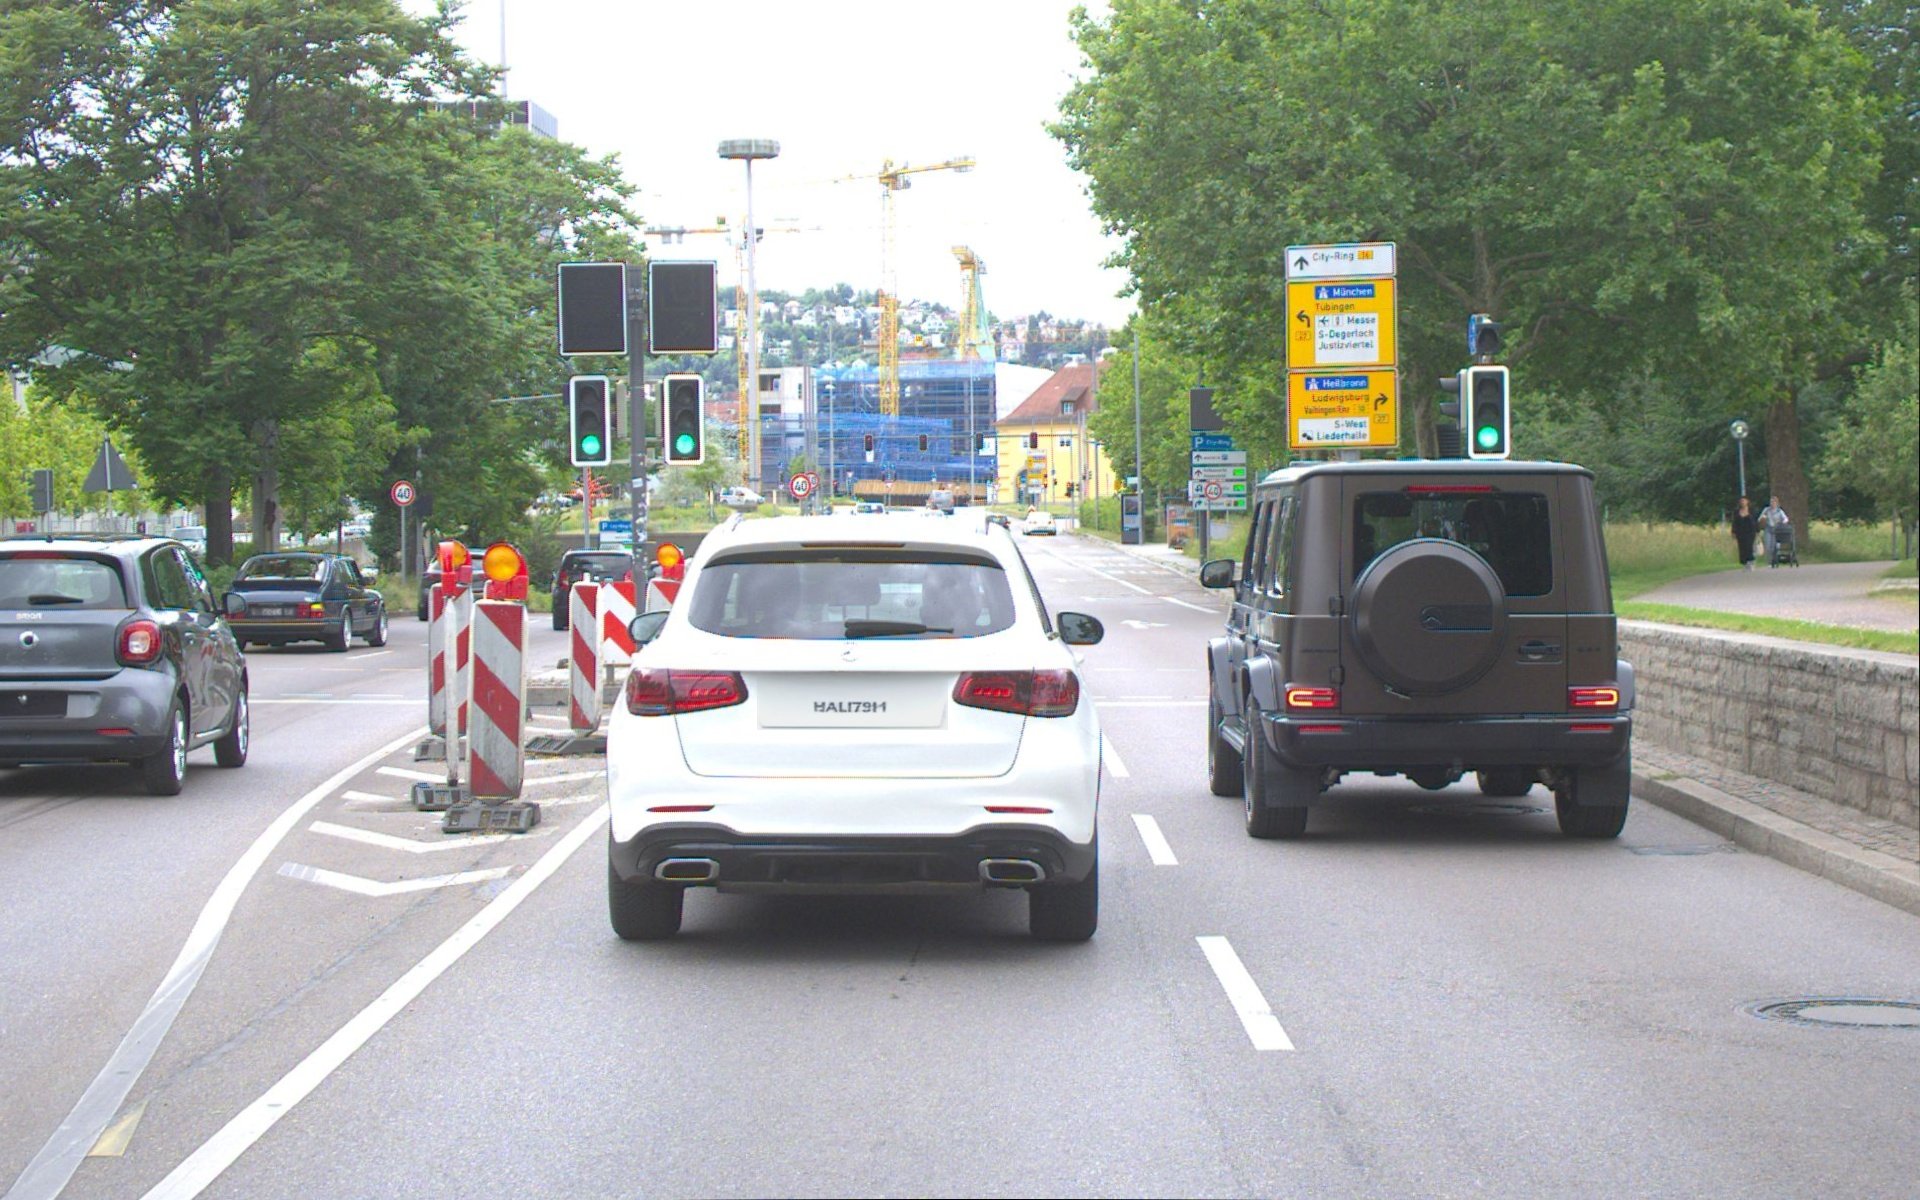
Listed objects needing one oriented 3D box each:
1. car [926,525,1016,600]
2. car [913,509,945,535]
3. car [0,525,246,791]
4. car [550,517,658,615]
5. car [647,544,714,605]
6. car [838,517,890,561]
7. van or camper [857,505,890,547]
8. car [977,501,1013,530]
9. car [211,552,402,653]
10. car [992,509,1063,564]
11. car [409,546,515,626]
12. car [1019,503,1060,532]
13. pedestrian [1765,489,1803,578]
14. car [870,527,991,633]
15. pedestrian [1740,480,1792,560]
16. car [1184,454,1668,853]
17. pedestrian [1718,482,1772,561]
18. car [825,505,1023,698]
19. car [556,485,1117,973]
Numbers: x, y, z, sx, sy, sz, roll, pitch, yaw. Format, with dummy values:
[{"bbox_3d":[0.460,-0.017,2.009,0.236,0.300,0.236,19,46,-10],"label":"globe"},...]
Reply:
[{"bbox_3d":[0.220,-0.848,76.740,1.719,1.579,4.001,2,1,-3],"label":"car"},{"bbox_3d":[-1.920,-4.760,210.175,1.719,1.579,4.001,2,1,-3],"label":"car"},{"bbox_3d":[-5.457,0.318,21.291,1.627,1.504,3.540,1,0,-6],"label":"car"},{"bbox_3d":[-6.457,-0.640,62.595,1.719,1.673,4.001,2,1,-3],"label":"car"},{"bbox_3d":[-7.722,-0.709,94.822,1.719,1.579,4.001,2,1,-6],"label":"car"},{"bbox_3d":[-3.985,-2.524,143.198,1.993,1.751,4.000,2,0,0],"label":"car"},{"bbox_3d":[-5.088,-4.330,202.045,1.922,2.312,4.000,0,-1,-2],"label":"van or camper"},{"bbox_3d":[1.969,-4.753,194.308,1.719,1.579,4.001,2,1,-3],"label":"car"},{"bbox_3d":[-9.110,0.006,48.214,1.719,1.288,4.000,2,1,3],"label":"car"},{"bbox_3d":[2.143,-2.027,110.223,1.993,1.656,4.000,2,0,-2],"label":"car"},{"bbox_3d":[-10.316,-0.312,71.372,1.753,1.548,4.001,2,1,-3],"label":"car"},{"bbox_3d":[4.890,-5.056,211.156,1.993,1.612,4.001,2,0,-6],"label":"car"},{"bbox_3d":[18.832,-1.513,78.609,0.570,2.007,0.932,2,0,-1],"label":"pedestrian"},{"bbox_3d":[-0.507,-0.346,55.133,1.719,1.579,4.001,2,1,-3],"label":"car"},{"bbox_3d":[18.812,-1.857,80.245,0.996,1.830,1.029,2,0,6],"label":"pedestrian"},{"bbox_3d":[2.421,0.251,19.084,1.977,1.887,4.707,2,0,0],"label":"car"},{"bbox_3d":[17.345,-1.731,75.992,0.896,1.726,0.969,2,1,-1],"label":"pedestrian"},{"bbox_3d":[-0.339,0.016,31.854,1.672,1.622,4.000,2,0,-1],"label":"car"},{"bbox_3d":[-0.513,0.449,14.190,1.940,1.678,4.000,2,0,-2],"label":"car"}]
